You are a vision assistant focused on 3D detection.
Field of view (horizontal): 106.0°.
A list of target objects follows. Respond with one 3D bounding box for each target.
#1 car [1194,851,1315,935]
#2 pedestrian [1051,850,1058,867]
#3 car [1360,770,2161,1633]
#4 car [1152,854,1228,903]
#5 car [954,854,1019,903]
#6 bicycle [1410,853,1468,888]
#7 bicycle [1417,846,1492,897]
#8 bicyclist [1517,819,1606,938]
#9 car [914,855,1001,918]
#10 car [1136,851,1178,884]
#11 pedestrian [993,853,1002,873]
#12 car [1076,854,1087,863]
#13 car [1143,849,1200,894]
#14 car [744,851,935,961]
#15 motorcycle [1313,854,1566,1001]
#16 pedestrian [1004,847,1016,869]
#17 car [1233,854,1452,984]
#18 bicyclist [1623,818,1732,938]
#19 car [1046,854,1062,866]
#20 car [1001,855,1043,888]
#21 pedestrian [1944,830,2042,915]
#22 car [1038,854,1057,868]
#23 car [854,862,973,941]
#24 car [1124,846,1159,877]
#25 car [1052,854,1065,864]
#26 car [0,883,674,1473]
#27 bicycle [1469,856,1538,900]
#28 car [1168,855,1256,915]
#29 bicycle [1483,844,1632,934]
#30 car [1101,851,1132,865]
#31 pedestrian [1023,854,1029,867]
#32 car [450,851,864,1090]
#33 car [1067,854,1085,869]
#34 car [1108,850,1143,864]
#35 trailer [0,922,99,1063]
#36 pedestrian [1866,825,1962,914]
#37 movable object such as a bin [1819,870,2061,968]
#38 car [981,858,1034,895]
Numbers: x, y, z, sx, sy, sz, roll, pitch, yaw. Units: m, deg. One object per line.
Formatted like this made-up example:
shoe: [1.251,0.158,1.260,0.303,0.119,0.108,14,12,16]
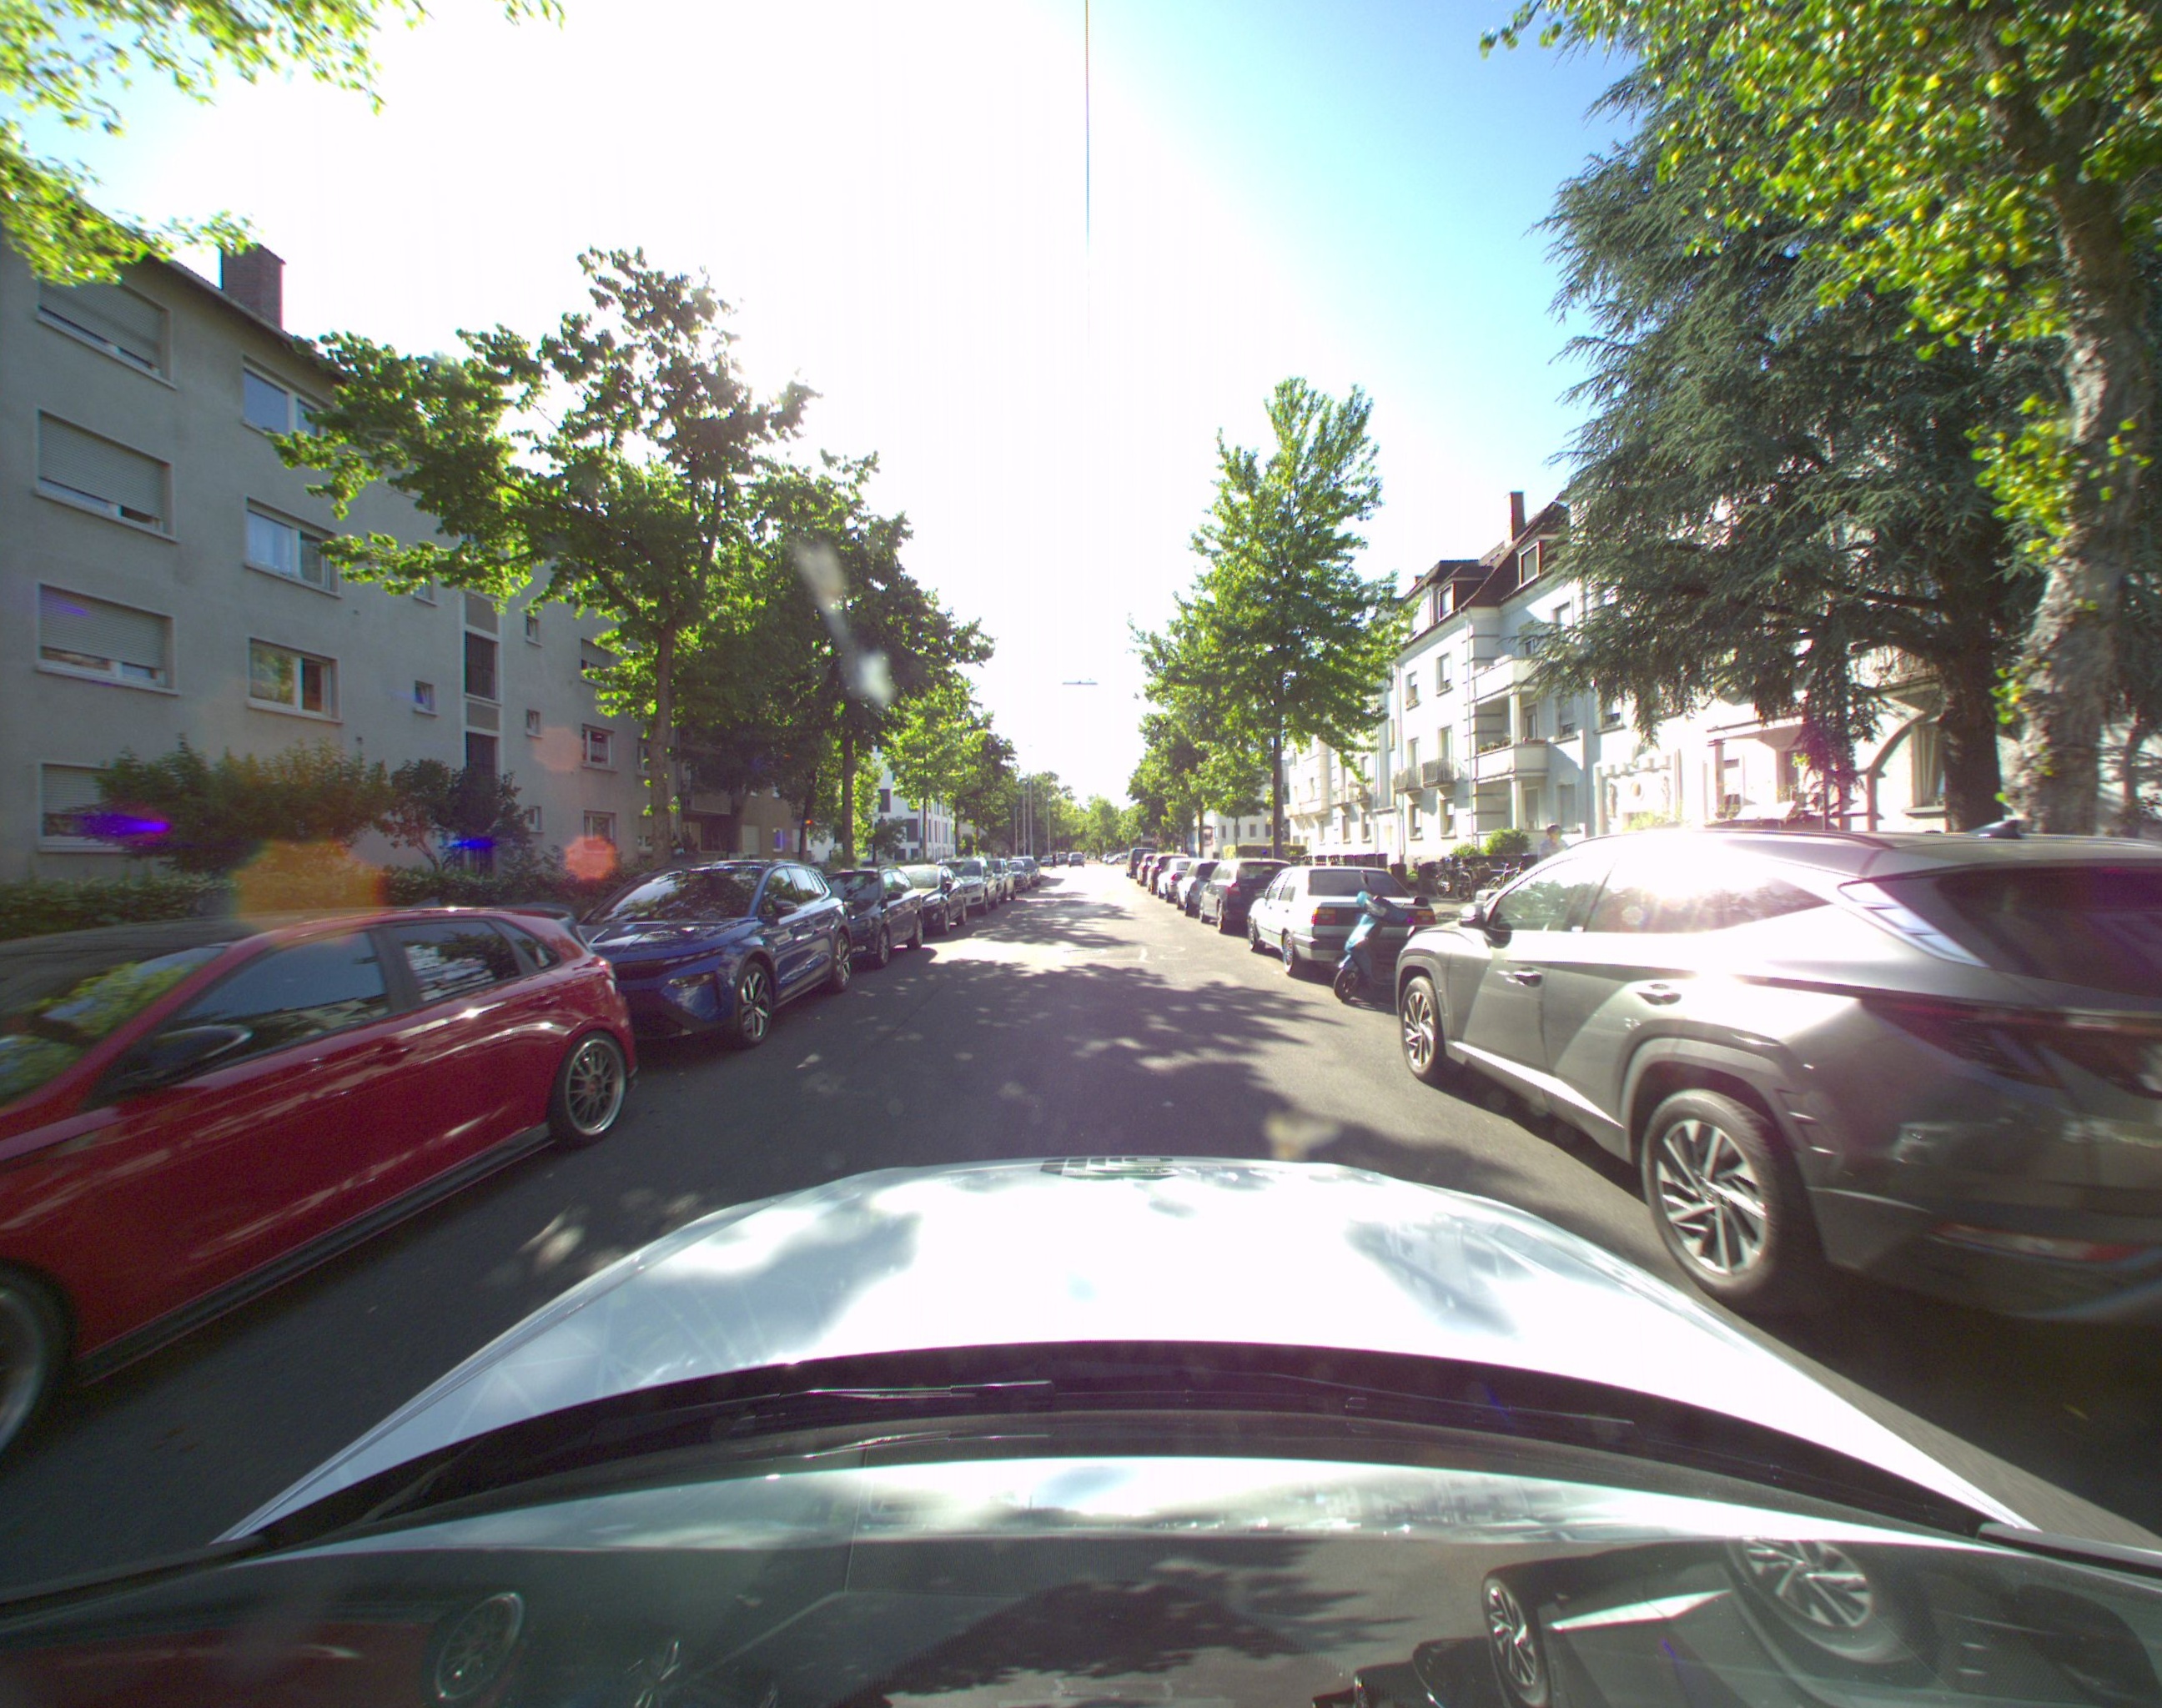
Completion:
car: [3.510,0.710,17.238,1.687,1.540,4.442,0,0,1]
pedestrian: [-2.959,0.535,91.249,0.715,1.900,0.834,-2,0,-9]
car: [3.137,0.660,4.080,1.918,1.651,5.098,1,0,2]
car: [3.607,0.787,27.769,1.891,1.474,4.698,2,0,-1]
car: [-3.320,0.821,29.275,1.704,1.544,3.931,-3,0,1]
bicycle: [11.461,0.525,26.083,1.574,0.971,0.501,-4,0,0]
bicycle: [9.700,0.433,21.270,0.836,1.257,2.229,-1,0,-3]
bicyclist: [6.867,0.334,11.678,0.675,1.609,0.921,-2,0,-3]
car: [-3.475,0.856,23.678,1.805,1.596,4.233,-2,0,0]
car: [3.869,0.649,42.060,1.827,1.600,4.159,1,0,1]
pedestrian: [-8.748,0.914,85.379,0.856,2.013,0.980,-2,0,-1]
car: [0.054,0.780,140.548,1.889,1.560,4.000,-1,0,0]
car: [3.683,0.672,33.813,1.900,1.699,4.313,1,0,0]
car: [-3.733,0.730,13.392,1.823,1.453,4.122,-2,0,0]
motorcycle: [3.714,0.737,8.556,2.344,1.423,0.687,-1,0,-1]
pedestrian: [-6.656,0.352,76.179,0.854,2.013,0.984,-2,0,9]
car: [3.422,0.745,11.596,1.744,1.454,4.463,1,0,1]
bicyclist: [8.108,0.311,11.120,0.674,1.553,1.021,-2,0,-3]
car: [-3.800,0.826,113.482,1.987,1.585,4.001,-2,0,1]
car: [-3.132,0.891,44.057,1.834,1.595,4.261,-3,0,0]
pedestrian: [12.644,0.250,11.312,0.508,1.142,0.755,-1,0,-1]
car: [-4.046,0.811,98.193,1.987,1.671,4.001,-2,0,1]
car: [-3.594,0.955,18.155,1.756,1.443,3.908,-3,0,0]
car: [3.987,0.475,54.288,1.964,1.949,4.985,-1,0,0]
car: [-3.749,0.769,135.270,1.987,1.585,4.001,-2,0,1]
car: [-3.634,0.931,3.202,1.773,1.379,4.263,-3,0,1]
bicycle: [9.753,0.530,18.869,0.593,0.957,1.904,-2,0,1]
car: [3.442,0.764,21.976,1.782,1.453,3.781,0,0,0]
bicycle: [6.855,0.459,11.902,0.682,1.153,2.401,-2,0,-2]
car: [4.736,0.508,109.177,3.977,1.830,1.999,-2,0,-2]
pedestrian: [-8.641,1.014,127.701,0.761,1.900,0.817,-2,0,-6]
car: [-3.612,0.832,8.048,1.785,1.566,4.461,-4,0,-2]
car: [-0.548,0.798,87.794,1.777,1.609,3.999,-2,0,0]
car: [5.228,0.375,96.638,3.978,1.587,1.725,-2,0,-4]
trailer: [-9.280,1.114,5.270,1.781,1.034,3.283,-1,0,3]
pedestrian: [11.115,0.200,10.895,0.507,1.142,0.756,-1,0,2]
movable object such as a bin: [9.242,0.661,8.901,1.211,0.904,1.673,-2,0,21]
car: [-3.358,0.996,37.986,1.987,1.453,4.261,-4,0,0]
